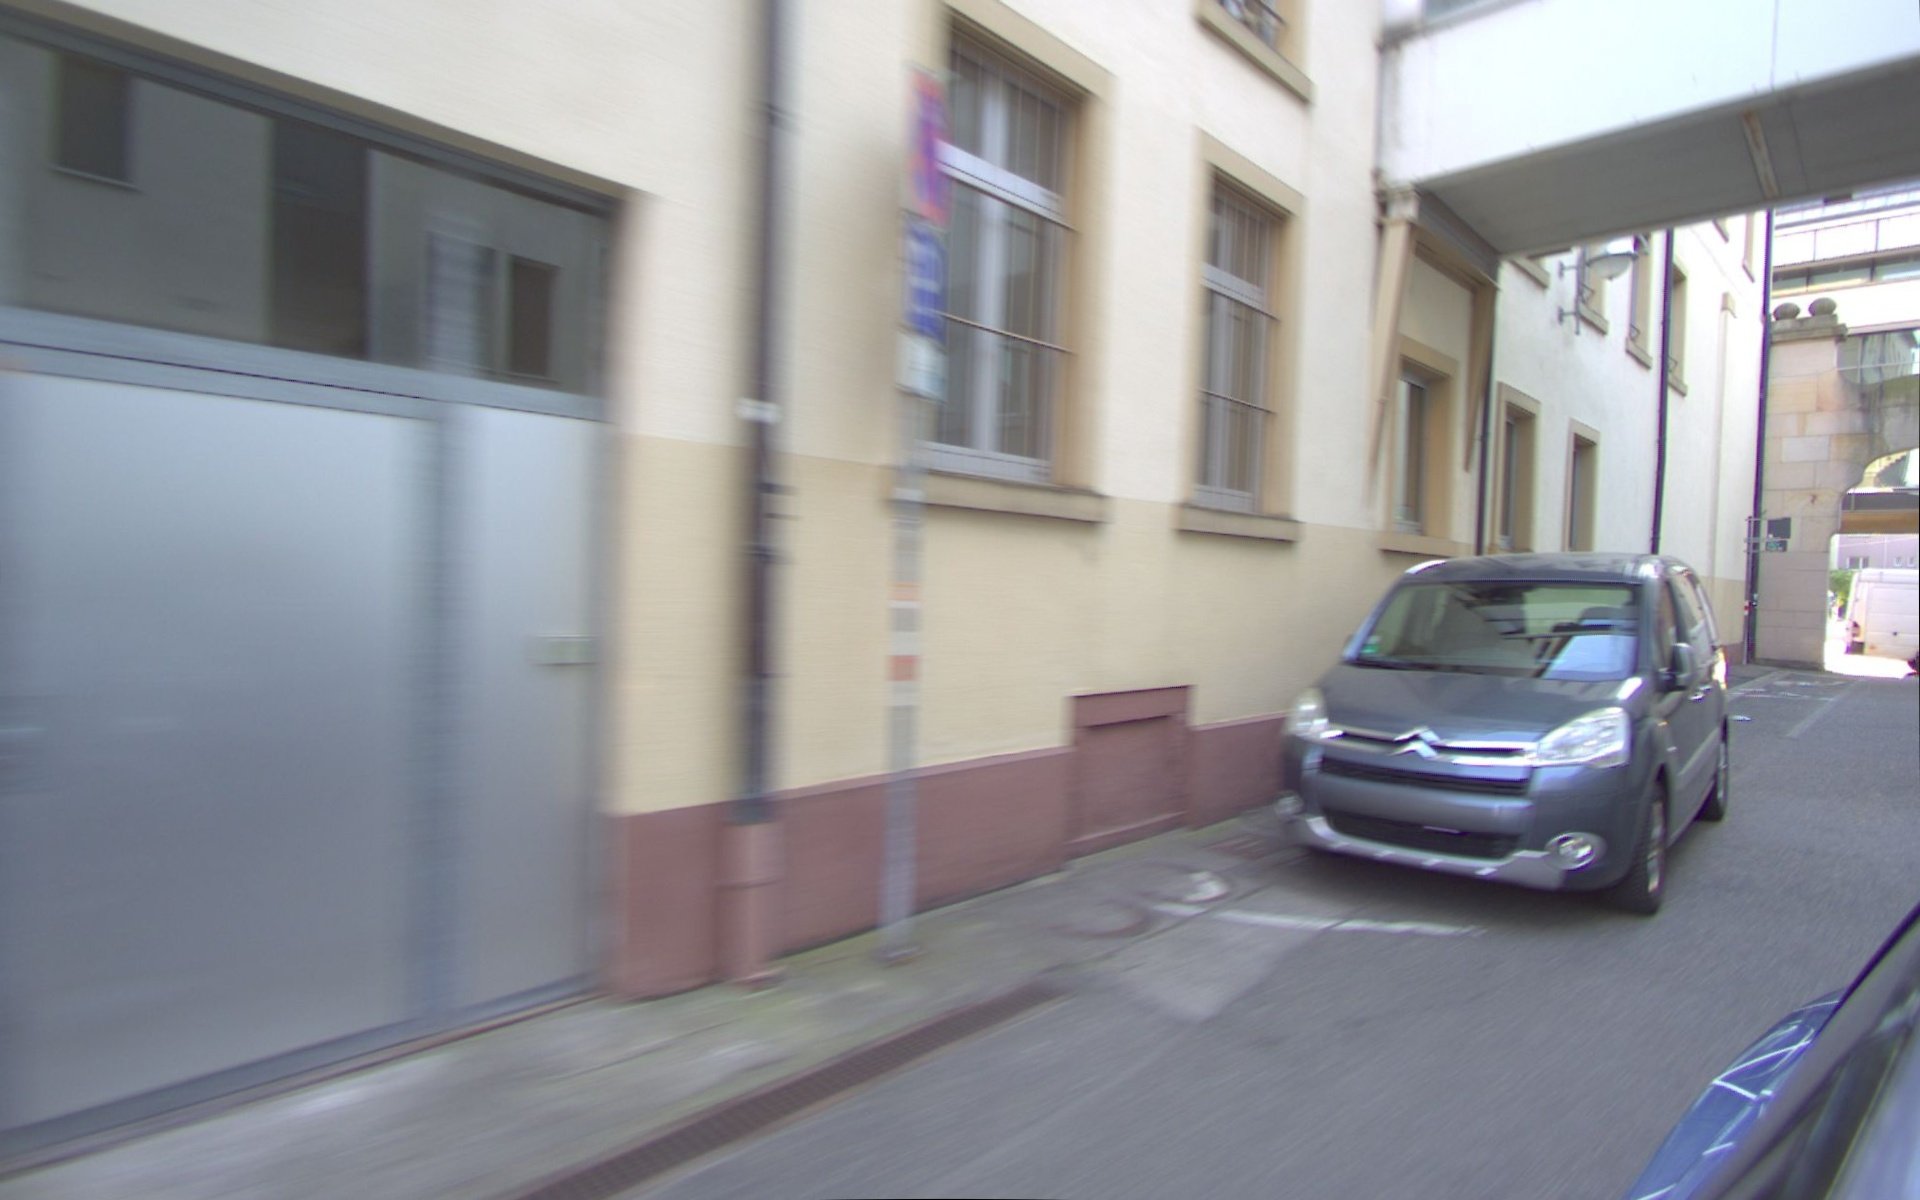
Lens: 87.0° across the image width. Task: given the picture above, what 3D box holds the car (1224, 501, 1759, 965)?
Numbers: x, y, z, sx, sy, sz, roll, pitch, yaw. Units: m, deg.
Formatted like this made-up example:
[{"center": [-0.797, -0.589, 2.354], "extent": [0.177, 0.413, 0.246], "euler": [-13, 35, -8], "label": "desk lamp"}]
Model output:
[{"center": [3.566, 0.502, 6.233], "extent": [1.759, 1.789, 4.676], "euler": [0, 0, 43], "label": "car"}]

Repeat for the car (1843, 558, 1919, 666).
[{"center": [24.776, 0.294, 23.722], "extent": [6.010, 2.566, 2.245], "euler": [0, 0, 38], "label": "car"}]
